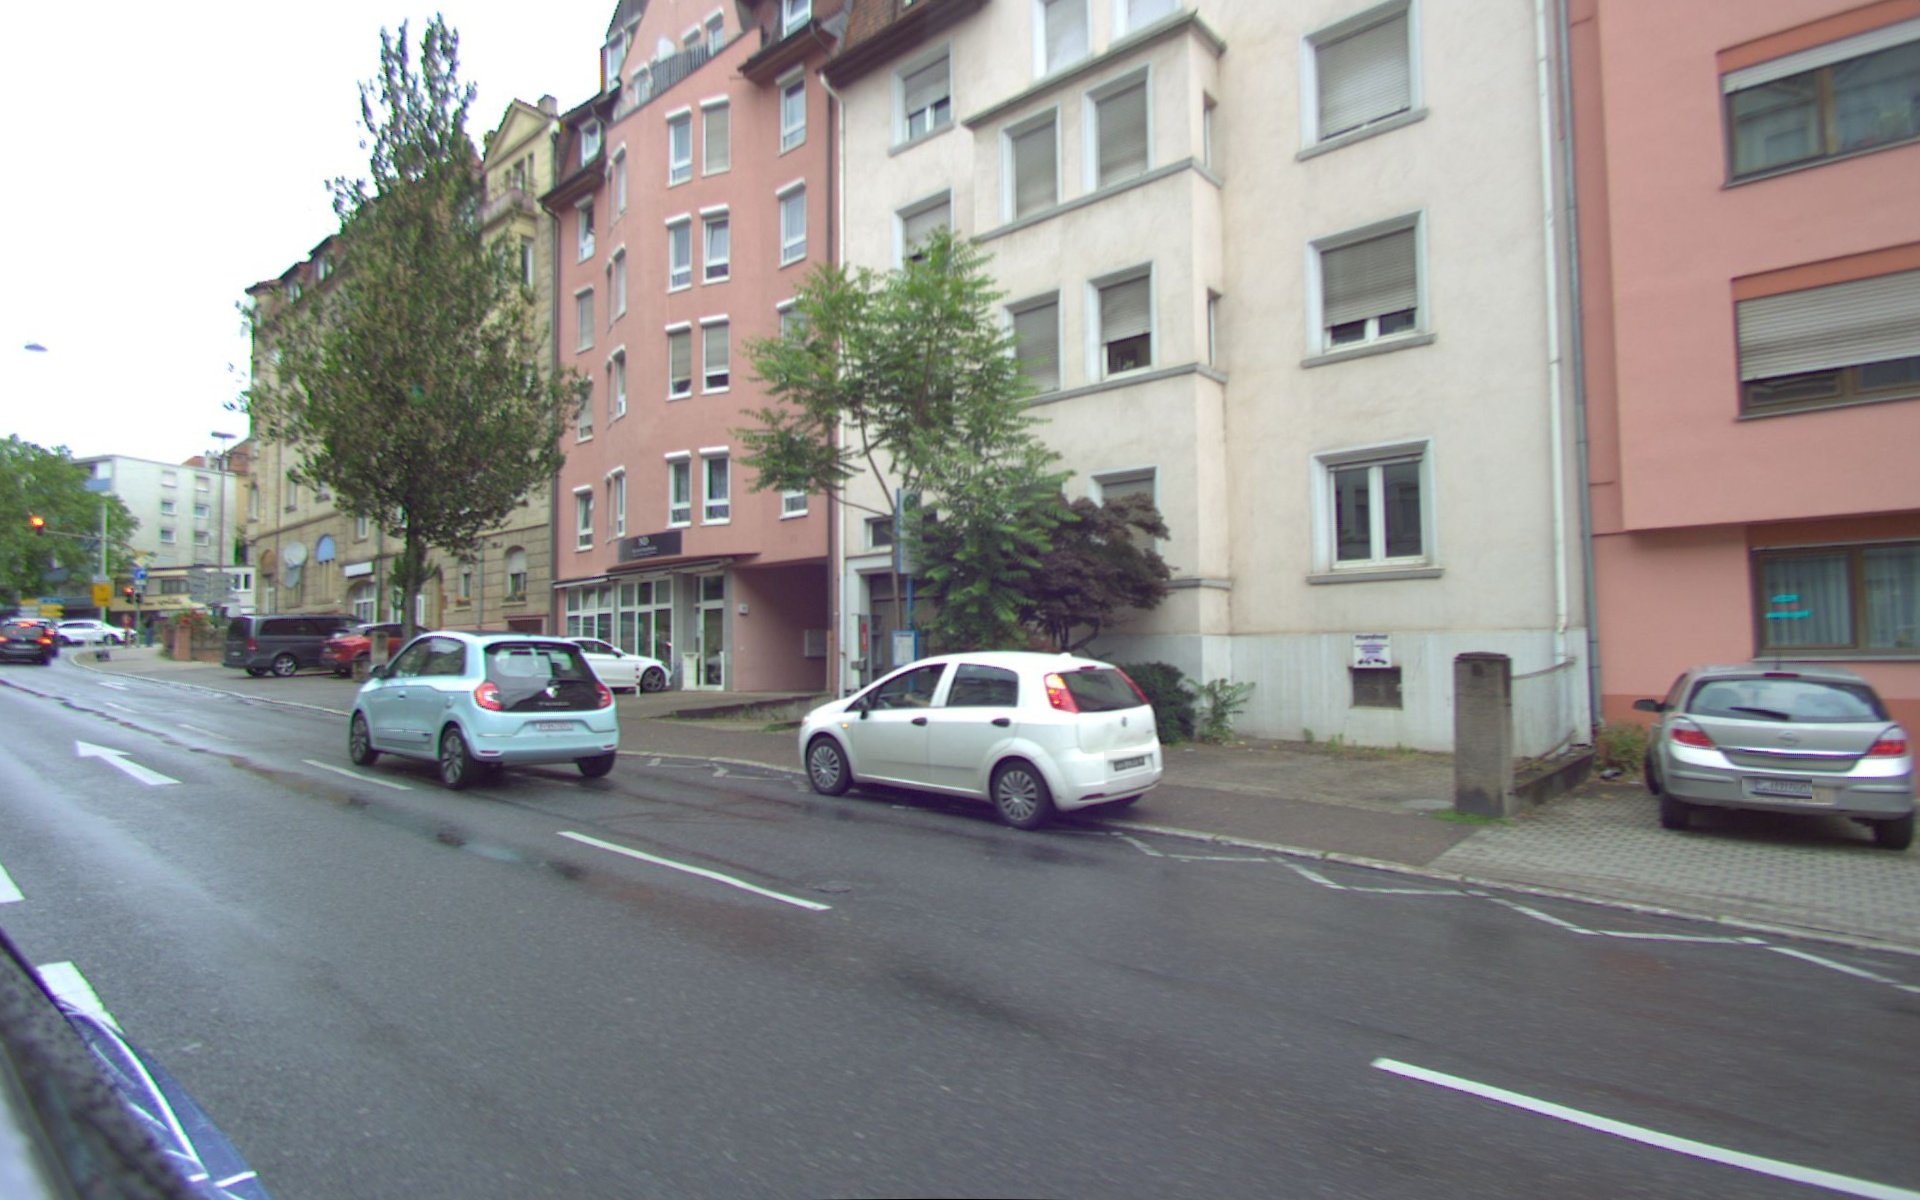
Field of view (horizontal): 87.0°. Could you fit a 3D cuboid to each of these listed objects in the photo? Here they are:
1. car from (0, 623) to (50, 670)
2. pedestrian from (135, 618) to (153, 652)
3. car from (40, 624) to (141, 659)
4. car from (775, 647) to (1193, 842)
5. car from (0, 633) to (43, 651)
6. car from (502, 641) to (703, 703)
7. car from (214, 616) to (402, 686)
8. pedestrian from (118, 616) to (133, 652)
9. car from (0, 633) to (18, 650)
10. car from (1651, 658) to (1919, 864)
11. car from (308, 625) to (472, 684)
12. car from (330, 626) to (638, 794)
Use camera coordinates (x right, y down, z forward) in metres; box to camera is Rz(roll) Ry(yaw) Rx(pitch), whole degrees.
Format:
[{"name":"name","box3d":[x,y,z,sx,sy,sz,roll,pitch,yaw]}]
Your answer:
[{"name":"car","box3d":[-36.342,1.772,39.013,1.600,1.662,4.427,5,-5,-40]},{"name":"pedestrian","box3d":[-42.202,1.821,52.344,0.829,1.715,0.629,-2,-1,43]},{"name":"car","box3d":[-53.942,2.565,62.857,4.378,2.029,1.922,-1,-1,-20]},{"name":"car","box3d":[0.086,1.219,9.870,4.004,1.457,1.603,-1,-3,42]},{"name":"car","box3d":[-82.837,3.645,88.686,1.609,1.426,3.619,0,0,3]},{"name":"car","box3d":[-8.905,1.782,25.556,1.766,1.412,4.501,-1,-4,40]},{"name":"car","box3d":[-20.383,1.535,31.852,1.856,1.953,4.640,-2,-1,31]},{"name":"pedestrian","box3d":[-41.839,1.683,50.720,0.516,1.787,0.694,-1,-1,-43]},{"name":"car","box3d":[-85.164,3.638,88.567,1.790,1.426,3.697,0,0,7]},{"name":"car","box3d":[7.550,1.293,9.388,1.787,1.468,3.849,-1,-3,33]},{"name":"car","box3d":[-17.757,1.646,31.667,1.896,1.602,4.055,-1,0,40]},{"name":"car","box3d":[-5.317,1.094,11.119,3.753,1.520,1.619,-1,-5,41]}]
